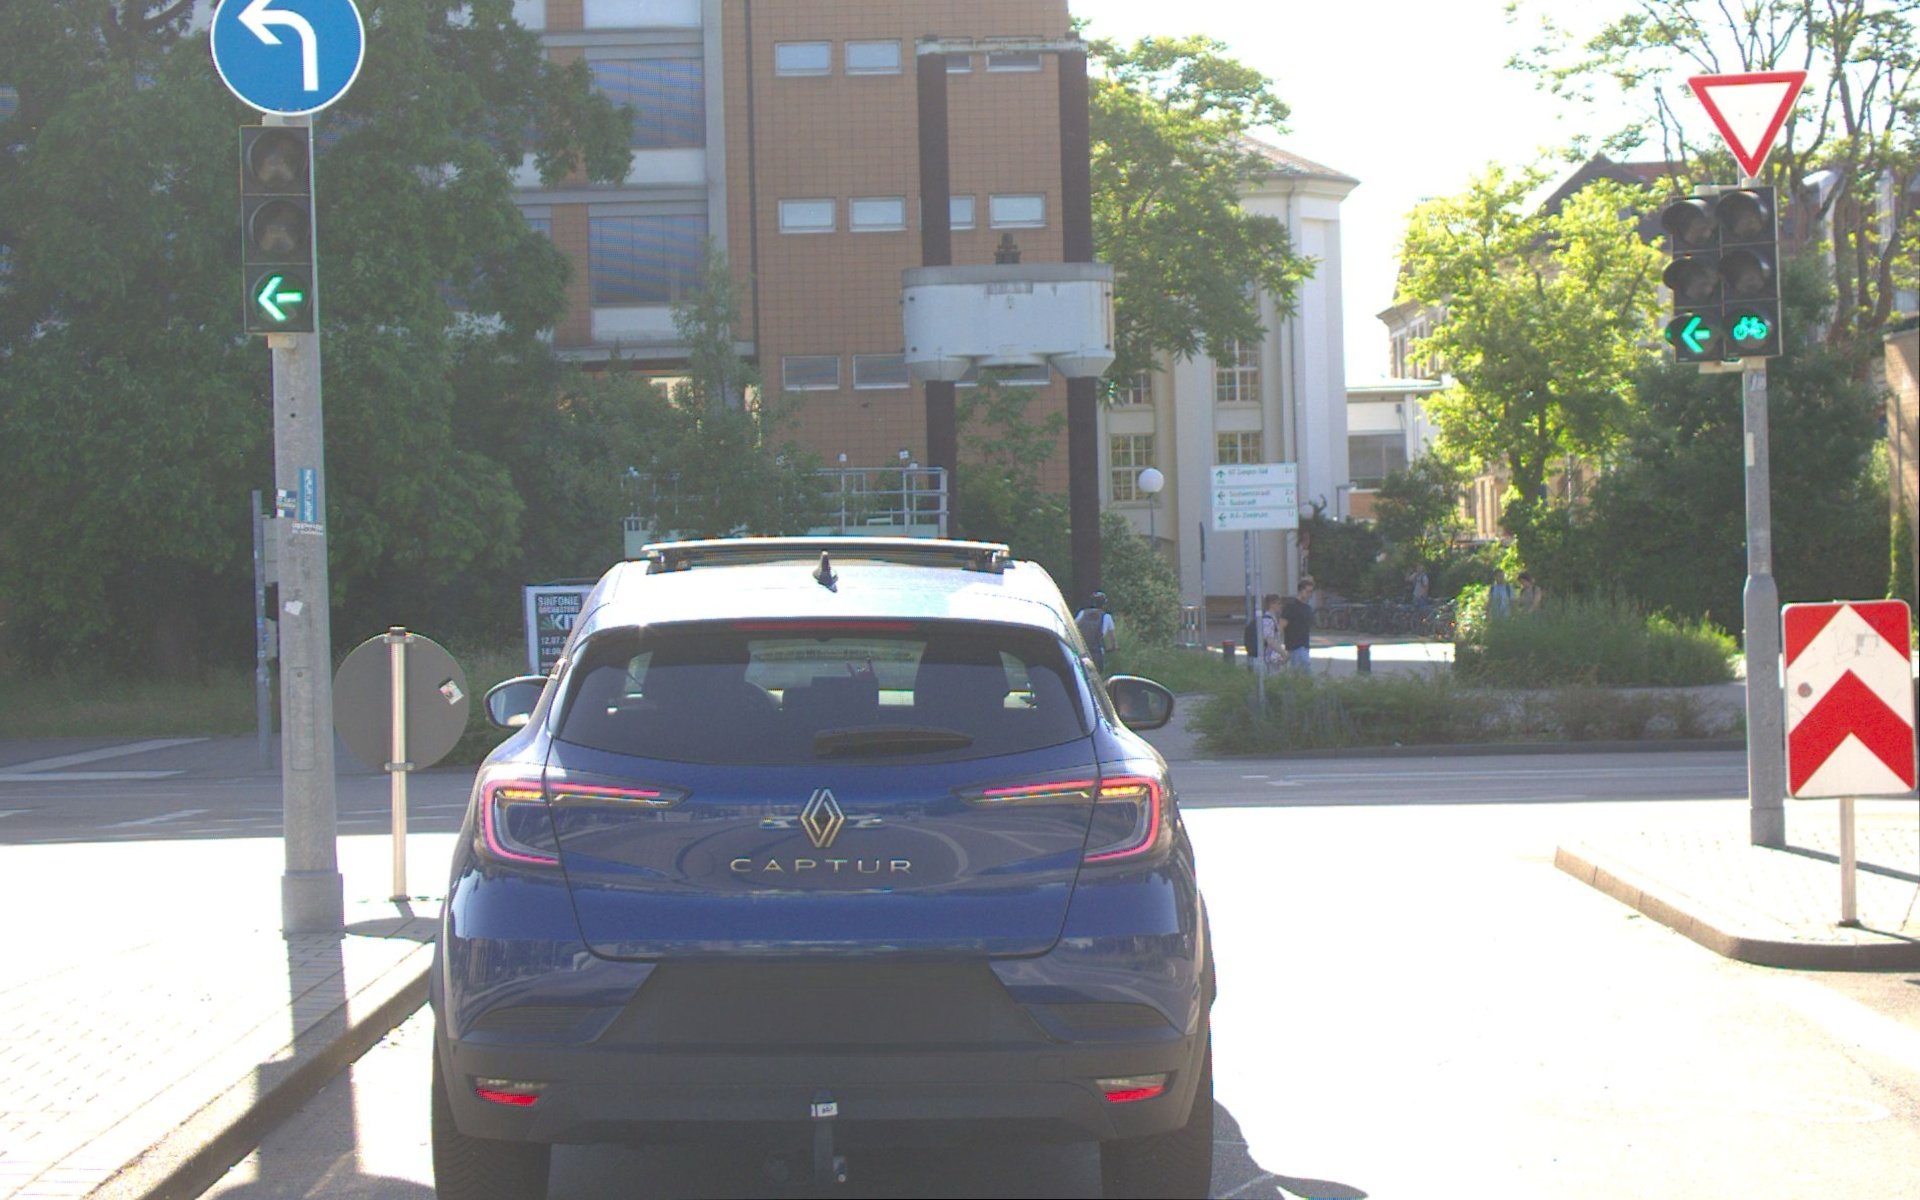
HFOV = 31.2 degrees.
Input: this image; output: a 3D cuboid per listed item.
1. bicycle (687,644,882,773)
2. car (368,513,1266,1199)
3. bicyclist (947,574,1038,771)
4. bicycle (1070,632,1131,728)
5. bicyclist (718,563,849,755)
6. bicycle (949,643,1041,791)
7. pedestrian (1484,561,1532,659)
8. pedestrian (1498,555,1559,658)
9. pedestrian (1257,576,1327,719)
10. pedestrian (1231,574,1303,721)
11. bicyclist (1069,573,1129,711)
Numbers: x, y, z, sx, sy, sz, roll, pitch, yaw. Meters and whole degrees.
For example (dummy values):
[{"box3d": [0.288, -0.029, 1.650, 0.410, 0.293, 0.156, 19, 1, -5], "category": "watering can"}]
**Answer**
[{"box3d": [-1.655, 1.003, 32.210, 1.869, 1.161, 0.746, -1, 0, 45], "category": "bicycle"}, {"box3d": [-0.324, 0.629, 9.178, 1.876, 1.612, 3.798, 1, 0, -1], "category": "car"}, {"box3d": [0.267, 0.599, 29.003, 0.719, 1.611, 0.978, -1, 0, -1], "category": "bicyclist"}, {"box3d": [1.796, 1.007, 44.013, 0.746, 1.161, 1.870, -1, 0, 2], "category": "bicycle"}, {"box3d": [-1.658, 0.545, 32.201, 0.977, 1.757, 0.720, -1, 0, 45], "category": "bicyclist"}, {"box3d": [0.280, 0.965, 28.917, 0.716, 1.161, 1.870, -1, 0, -1], "category": "bicycle"}, {"box3d": [9.213, 0.168, 57.819, 0.676, 1.637, 0.735, 1, 0, 17], "category": "pedestrian"}, {"box3d": [9.092, 0.100, 54.998, 0.677, 1.637, 0.734, 1, 0, 38], "category": "pedestrian"}, {"box3d": [4.208, 0.597, 43.529, 0.734, 1.776, 0.731, 1, 0, 17], "category": "pedestrian"}, {"box3d": [3.824, 0.583, 42.791, 0.734, 1.810, 0.731, 1, 0, 17], "category": "pedestrian"}, {"box3d": [1.782, 0.531, 44.001, 0.719, 1.729, 0.977, -1, 0, 3], "category": "bicyclist"}]
